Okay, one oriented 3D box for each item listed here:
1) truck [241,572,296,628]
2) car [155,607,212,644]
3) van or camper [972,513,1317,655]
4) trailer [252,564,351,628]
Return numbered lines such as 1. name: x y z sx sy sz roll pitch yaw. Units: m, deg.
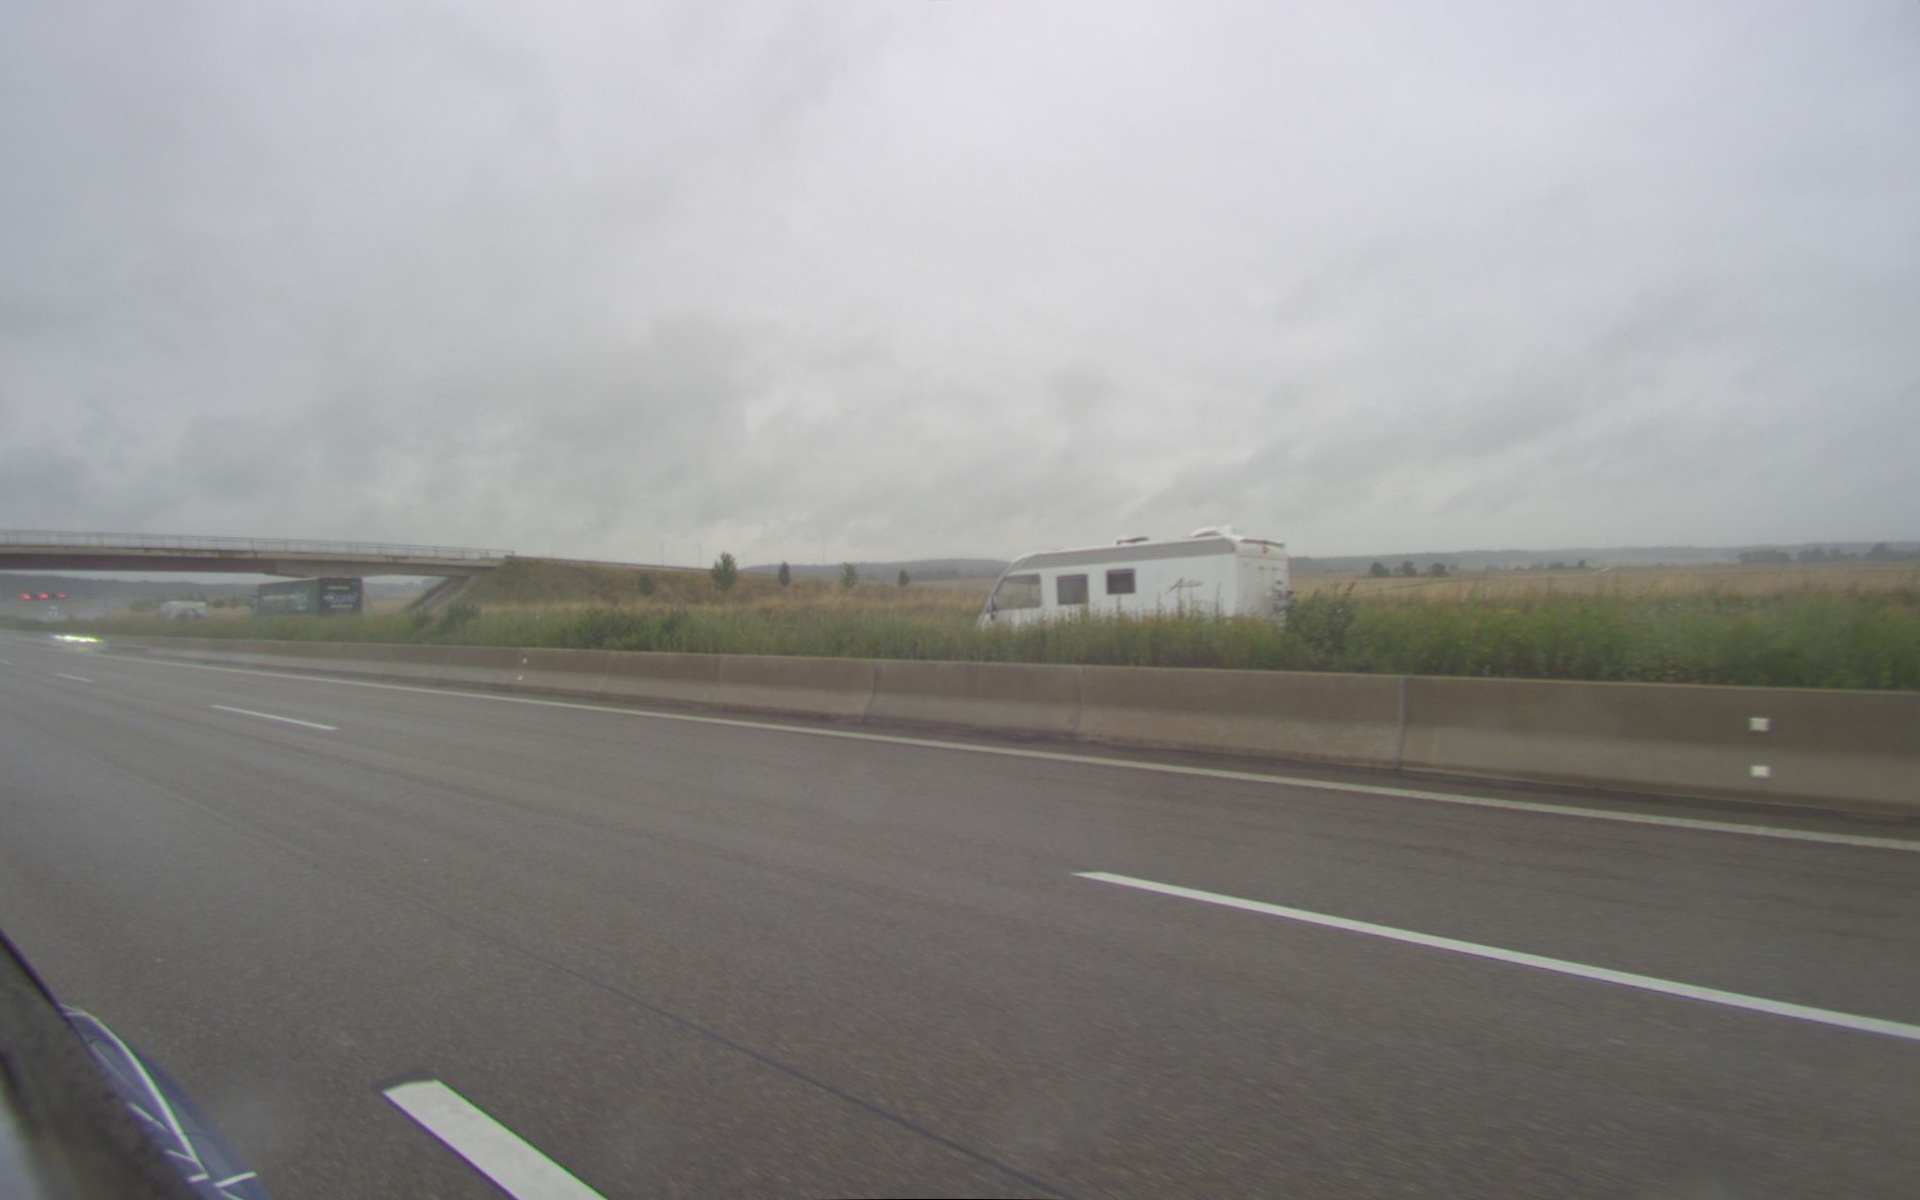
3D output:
1. truck: -51.033 0.049 74.661 5.183 4.014 2.190 -2 -2 42
2. car: -61.045 1.975 79.543 6.205 2.727 2.470 -1 0 42
3. van or camper: 3.618 -0.200 21.071 6.750 2.527 2.350 -2 -1 40
4. trailer: -45.506 -0.098 69.661 14.203 4.027 2.200 -2 -1 42
